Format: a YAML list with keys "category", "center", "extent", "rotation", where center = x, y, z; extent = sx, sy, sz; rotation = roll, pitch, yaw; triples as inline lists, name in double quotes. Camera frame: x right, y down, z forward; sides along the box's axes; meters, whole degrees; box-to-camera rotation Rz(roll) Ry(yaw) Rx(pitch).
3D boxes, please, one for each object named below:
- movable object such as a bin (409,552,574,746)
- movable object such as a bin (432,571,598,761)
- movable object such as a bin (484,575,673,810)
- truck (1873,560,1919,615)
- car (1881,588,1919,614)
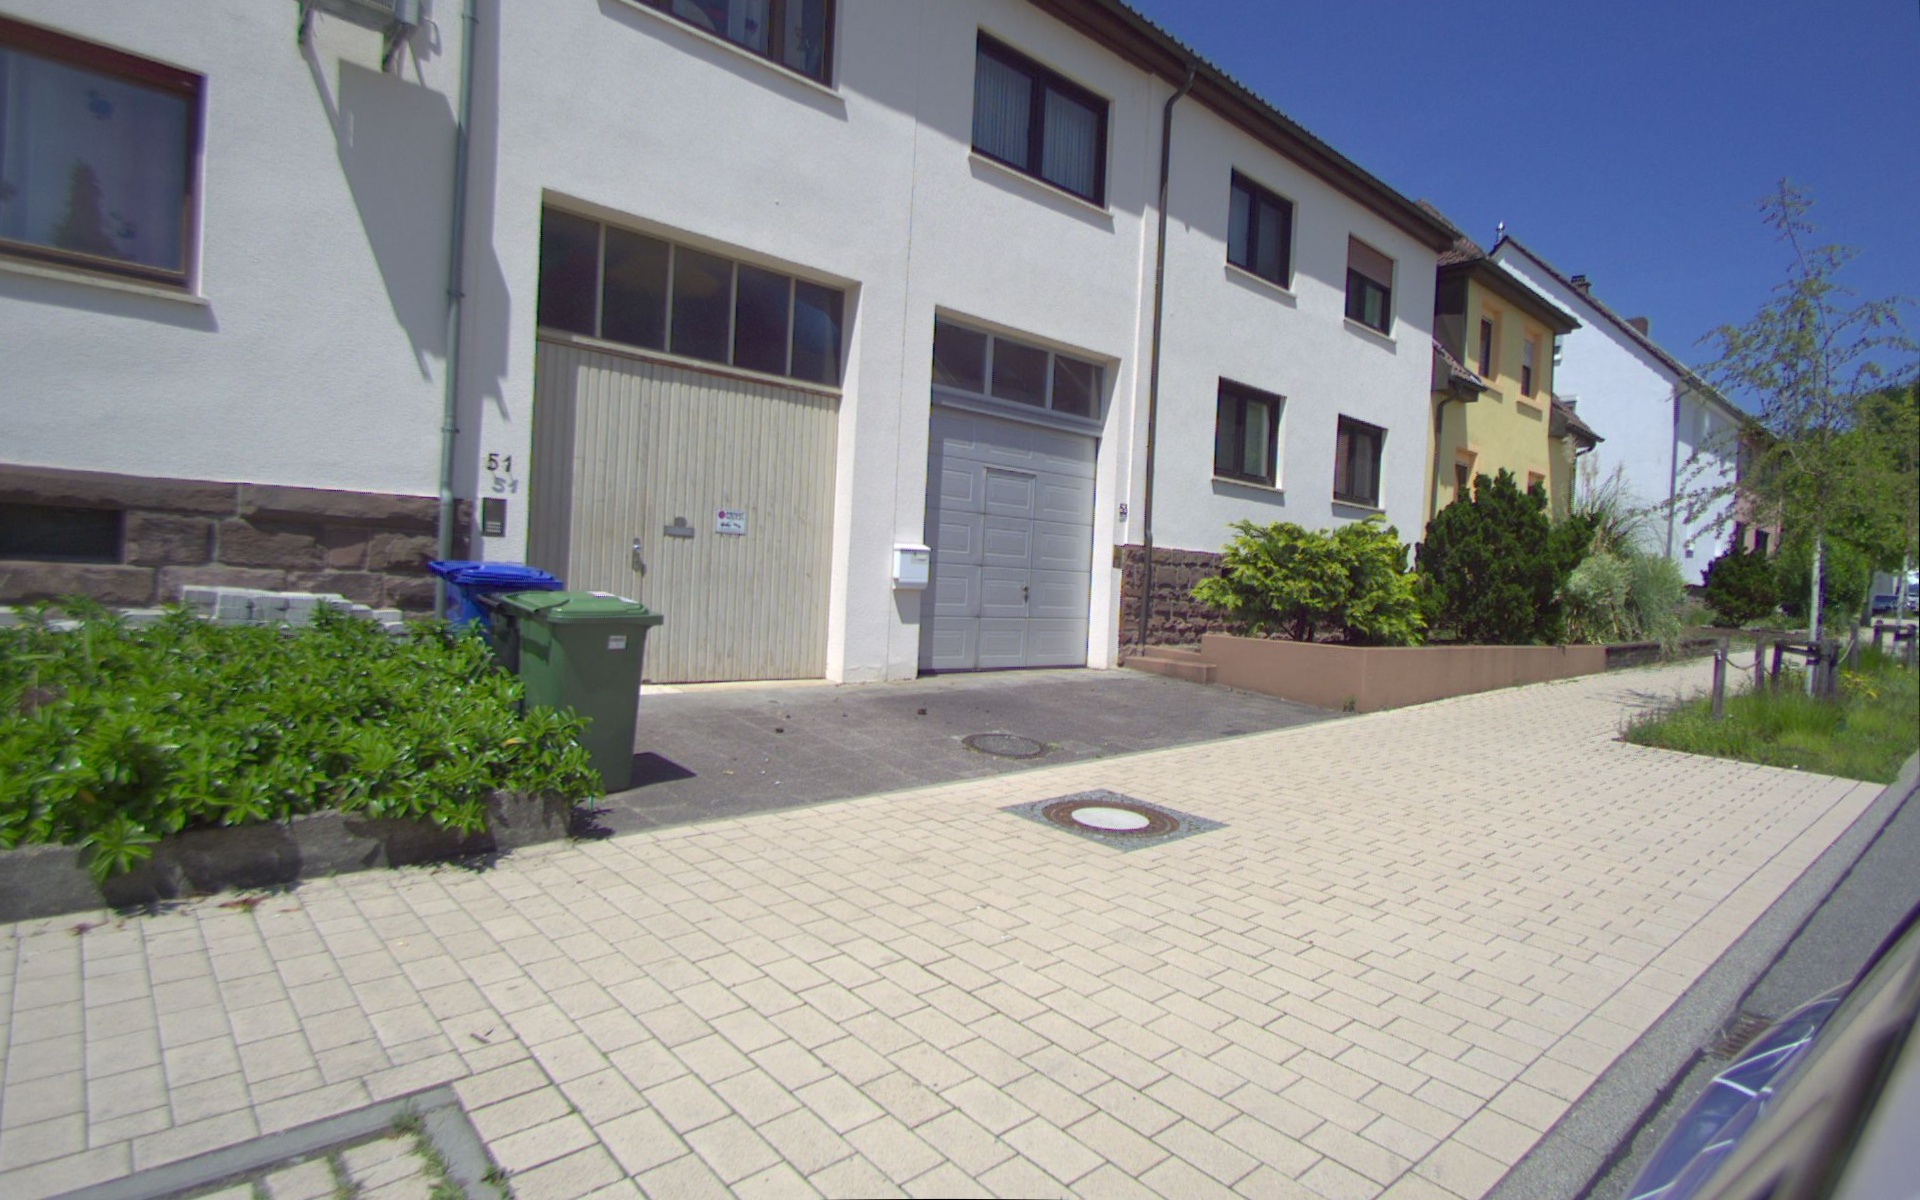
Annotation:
- category: "movable object such as a bin"
  center: [-3.041, 0.283, 6.552]
  extent: [0.846, 1.119, 0.688]
  rotation: [0, 5, -35]
- category: "movable object such as a bin"
  center: [-2.641, 0.359, 5.995]
  extent: [0.787, 0.997, 0.560]
  rotation: [0, 6, -35]
- category: "movable object such as a bin"
  center: [-2.102, 0.458, 5.556]
  extent: [0.797, 1.128, 0.687]
  rotation: [0, 5, -36]
- category: "truck"
  center: [63.284, -0.792, 66.908]
  extent: [2.785, 3.457, 8.030]
  rotation: [0, 0, 31]
- category: "car"
  center: [55.200, 0.056, 59.258]
  extent: [1.669, 1.393, 3.942]
  rotation: [4, 3, 40]
